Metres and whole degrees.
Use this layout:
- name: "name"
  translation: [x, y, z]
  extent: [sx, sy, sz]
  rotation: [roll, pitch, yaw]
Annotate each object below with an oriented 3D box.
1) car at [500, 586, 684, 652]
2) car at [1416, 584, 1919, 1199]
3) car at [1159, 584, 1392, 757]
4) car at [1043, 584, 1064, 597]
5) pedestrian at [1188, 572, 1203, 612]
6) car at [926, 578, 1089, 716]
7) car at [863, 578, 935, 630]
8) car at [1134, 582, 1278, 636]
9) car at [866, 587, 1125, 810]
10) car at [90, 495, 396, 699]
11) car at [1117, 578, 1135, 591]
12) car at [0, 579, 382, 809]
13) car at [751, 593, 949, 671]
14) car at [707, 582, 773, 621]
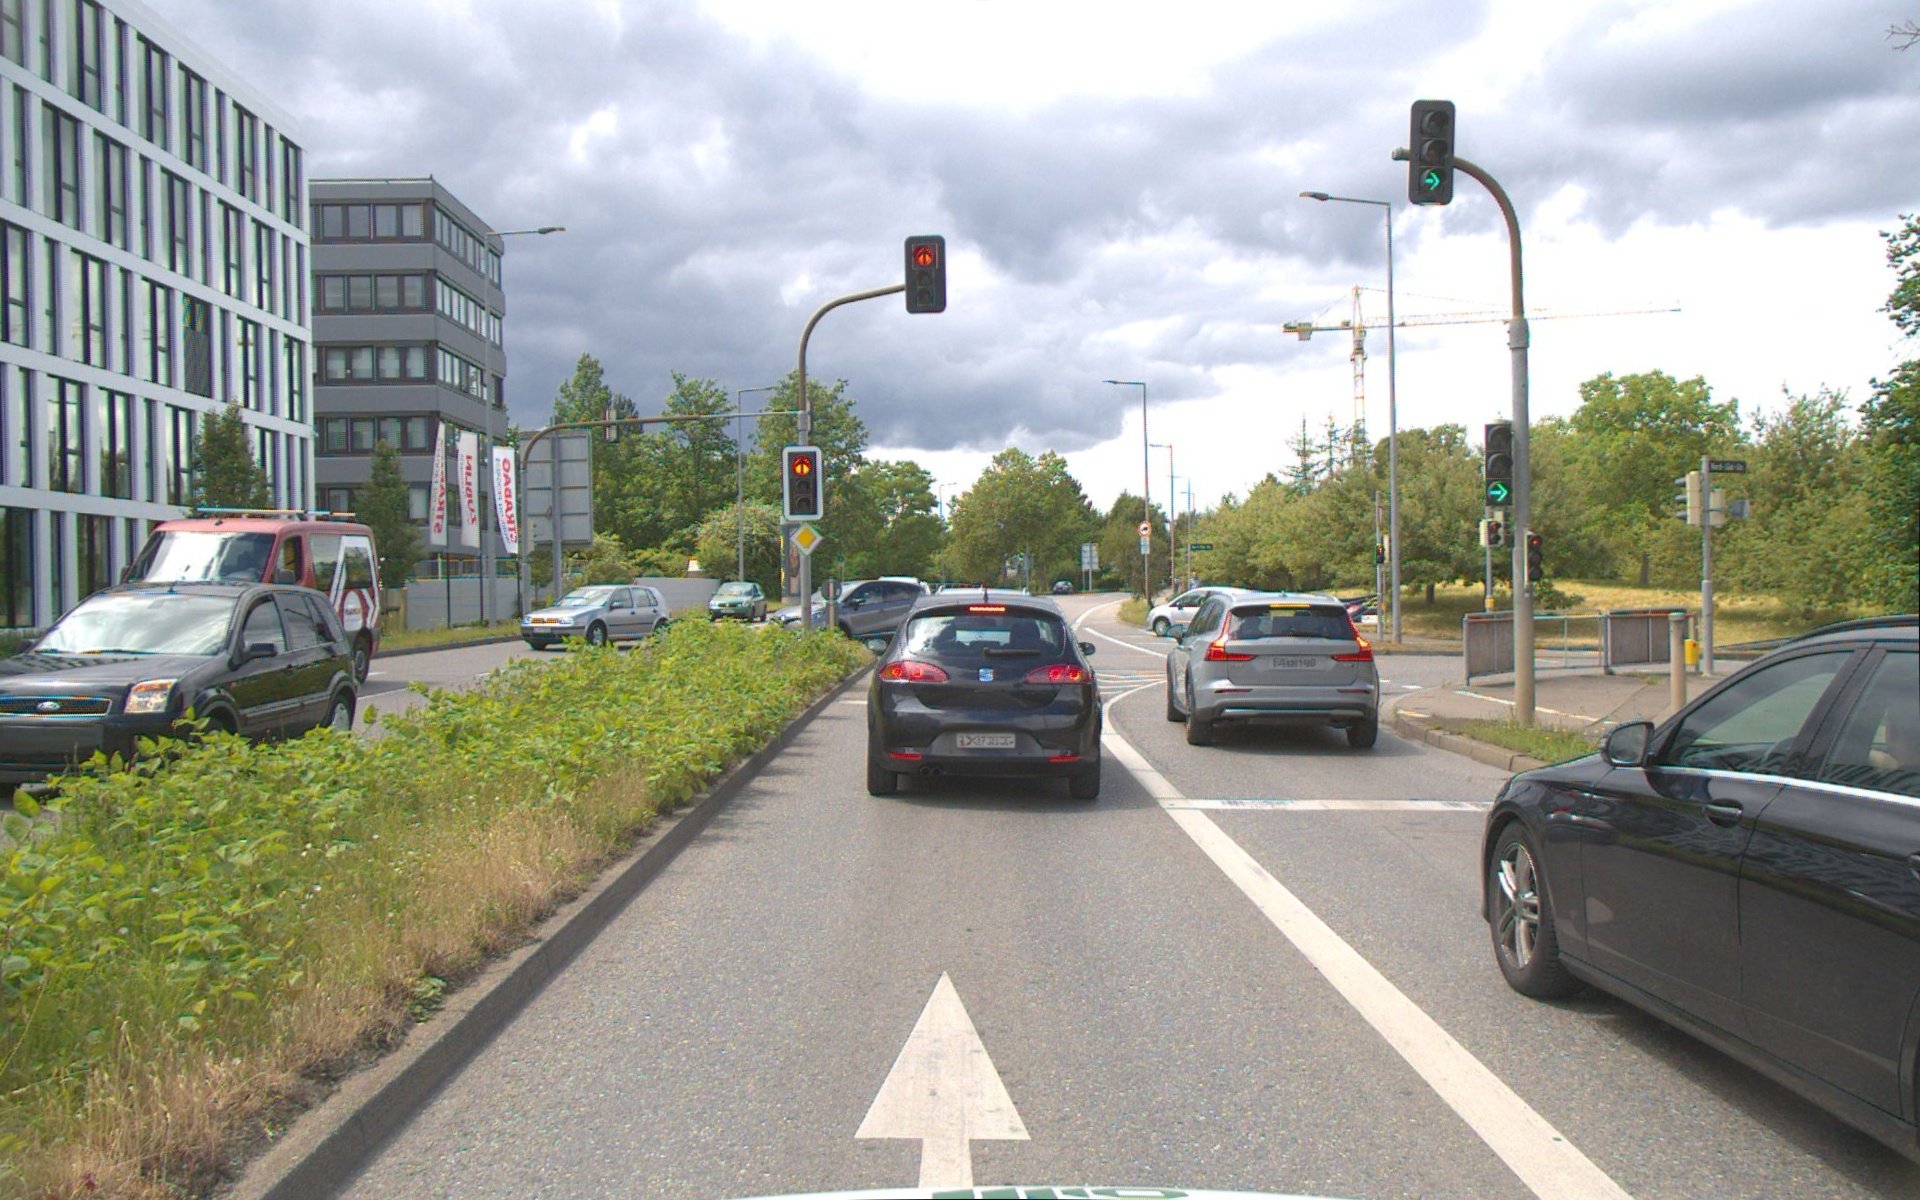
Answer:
- name: "car"
  translation: [-8.224, 0.390, 37.284]
  extent: [1.955, 1.378, 3.995]
  rotation: [0, 1, 28]
- name: "car"
  translation: [3.078, 0.711, 4.701]
  extent: [1.835, 1.466, 5.196]
  rotation: [-1, 1, -3]
- name: "car"
  translation: [3.167, 0.628, 17.446]
  extent: [1.824, 1.544, 4.448]
  rotation: [-1, 1, 3]
- name: "car"
  translation: [10.069, -1.003, 177.846]
  extent: [1.951, 1.375, 4.003]
  rotation: [0, 1, 8]
- name: "pedestrian"
  translation: [10.375, -0.372, 72.829]
  extent: [0.547, 1.756, 0.588]
  rotation: [1, 0, 0]
- name: "car"
  translation: [0.501, 0.511, 20.450]
  extent: [1.738, 1.517, 3.580]
  rotation: [-1, 1, -3]
- name: "car"
  translation: [-1.924, 0.102, 53.271]
  extent: [1.952, 1.624, 4.002]
  rotation: [0, 1, 3]
- name: "car"
  translation: [7.521, 0.248, 50.669]
  extent: [3.920, 1.557, 1.993]
  rotation: [0, 1, 36]
- name: "car"
  translation: [0.230, 0.655, 12.958]
  extent: [1.737, 1.477, 3.582]
  rotation: [1, 1, -1]
- name: "car"
  translation: [-9.605, -0.057, 22.712]
  extent: [1.953, 2.454, 5.240]
  rotation: [-1, 0, -1]
- name: "car"
  translation: [19.077, -1.791, 189.684]
  extent: [1.951, 1.375, 4.003]
  rotation: [0, 1, 8]
- name: "car"
  translation: [-6.004, 0.598, 12.882]
  extent: [1.644, 1.508, 3.999]
  rotation: [0, 1, -1]
- name: "car"
  translation: [-2.340, 0.645, 35.817]
  extent: [3.964, 1.543, 1.913]
  rotation: [-1, 1, -41]
- name: "car"
  translation: [-8.099, 0.025, 61.183]
  extent: [1.953, 1.375, 4.000]
  rotation: [0, 1, -1]
